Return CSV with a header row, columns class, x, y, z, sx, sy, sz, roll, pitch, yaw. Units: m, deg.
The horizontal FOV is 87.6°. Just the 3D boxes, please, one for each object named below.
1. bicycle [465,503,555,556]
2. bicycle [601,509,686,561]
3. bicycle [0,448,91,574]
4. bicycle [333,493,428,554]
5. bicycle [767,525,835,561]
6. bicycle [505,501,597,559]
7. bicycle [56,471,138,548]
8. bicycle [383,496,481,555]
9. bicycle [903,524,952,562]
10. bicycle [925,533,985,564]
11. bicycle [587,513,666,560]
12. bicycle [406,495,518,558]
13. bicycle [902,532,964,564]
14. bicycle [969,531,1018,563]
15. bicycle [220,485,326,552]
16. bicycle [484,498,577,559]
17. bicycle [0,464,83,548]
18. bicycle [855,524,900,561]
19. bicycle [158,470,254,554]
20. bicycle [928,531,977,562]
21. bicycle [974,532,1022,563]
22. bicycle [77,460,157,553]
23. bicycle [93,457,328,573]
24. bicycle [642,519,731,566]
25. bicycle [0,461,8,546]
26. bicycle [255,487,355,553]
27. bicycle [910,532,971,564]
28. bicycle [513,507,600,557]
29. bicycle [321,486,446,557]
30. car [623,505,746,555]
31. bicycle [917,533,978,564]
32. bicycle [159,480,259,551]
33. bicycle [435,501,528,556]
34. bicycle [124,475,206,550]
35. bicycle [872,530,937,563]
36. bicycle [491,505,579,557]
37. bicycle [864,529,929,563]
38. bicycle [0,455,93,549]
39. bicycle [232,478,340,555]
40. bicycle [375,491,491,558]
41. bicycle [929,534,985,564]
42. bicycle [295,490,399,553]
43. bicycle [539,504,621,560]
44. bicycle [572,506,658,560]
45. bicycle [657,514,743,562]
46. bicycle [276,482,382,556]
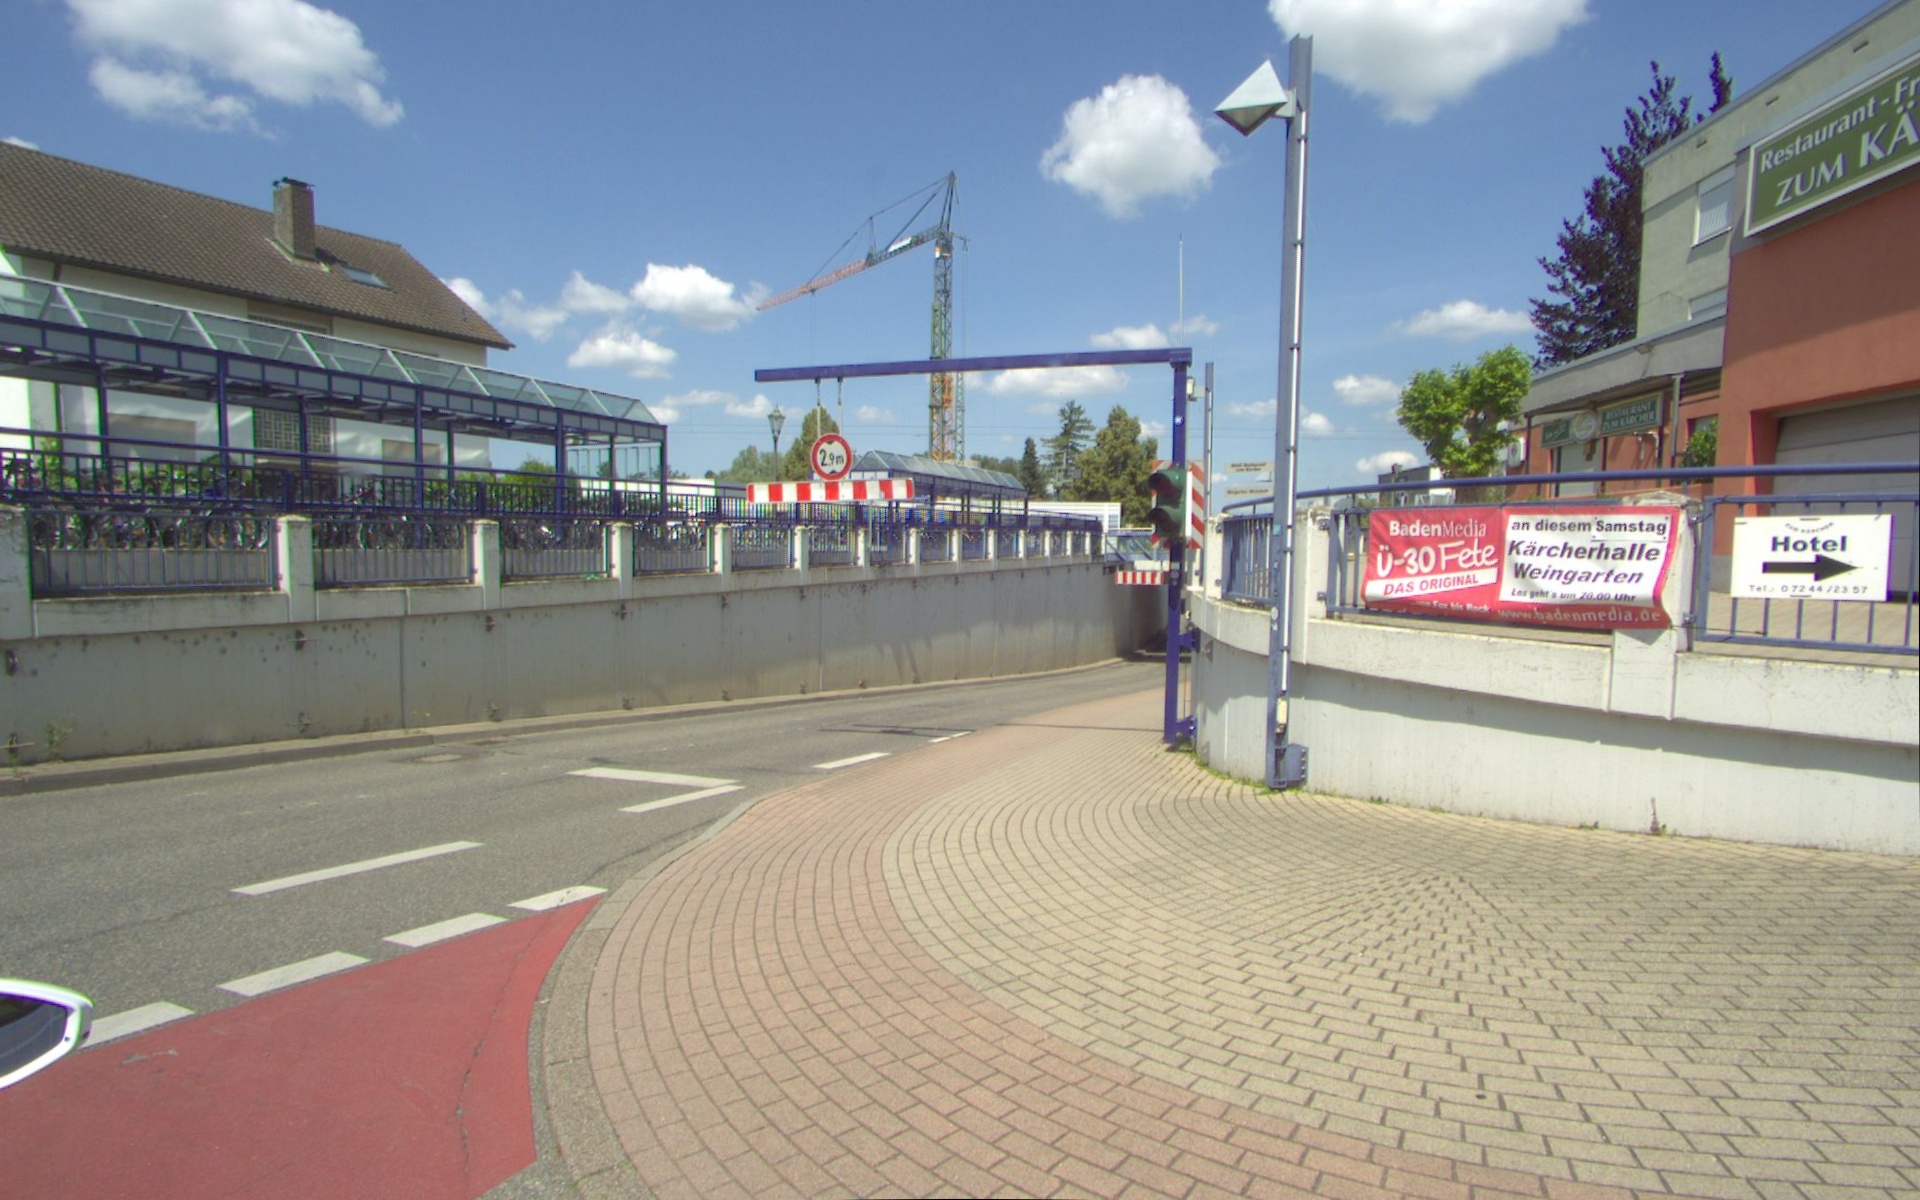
class,x,y,z,sx,sy,sz,roll,pitch,yaw
bicycle,-8.953,-1.397,19.896,1.933,1.009,0.518,2,3,26
bicycle,-6.450,-1.324,20.347,2.011,1.008,0.542,3,3,35
bicycle,-9.010,-0.806,8.804,0.327,1.141,2.114,3,3,24
bicycle,-10.143,-1.333,17.518,1.772,1.009,0.518,2,3,26
bicycle,-4.681,-1.668,29.411,1.991,1.009,0.510,2,3,22
bicycle,-7.502,-1.271,18.349,2.009,1.009,0.514,3,3,33
bicycle,-11.963,-1.233,13.867,1.938,1.009,0.371,3,3,35
bicycle,-9.519,-1.339,18.046,1.933,1.009,0.518,2,3,26
bicycle,-1.037,-1.819,31.905,1.578,1.174,0.427,3,3,34
bicycle,-0.180,-1.750,34.194,1.991,1.009,0.510,2,3,22
bicycle,-7.515,-1.432,22.520,2.009,1.009,0.542,3,3,32
bicycle,-8.402,-1.234,16.861,2.153,1.009,0.532,3,3,28
bicycle,-0.884,-1.711,32.753,1.991,1.009,0.510,2,3,22
bicycle,1.259,-2.006,38.117,1.792,1.174,0.510,2,3,23
bicycle,-10.828,-1.281,15.775,1.933,1.009,0.473,2,3,26
bicycle,-7.540,-1.240,17.519,2.160,1.008,0.576,3,3,40
bicycle,-11.952,-1.200,13.010,1.938,1.009,0.371,3,3,35
bicycle,-2.715,-1.896,32.920,1.578,1.174,0.384,3,3,34
bicycle,-9.742,-1.113,12.910,2.074,1.008,0.434,3,3,37
bicycle,-0.274,-2.043,38.171,1.792,1.174,0.510,2,3,23
bicycle,1.467,-2.021,38.620,1.792,1.174,0.510,2,3,23
bicycle,-10.048,-1.082,11.915,2.077,1.008,0.433,3,4,42
bicycle,-8.061,-0.865,10.906,0.386,1.141,2.114,3,3,24
bicycle,-6.087,-1.287,22.217,2.126,1.009,0.436,2,3,25
bicycle,-12.138,-1.178,12.326,1.866,1.008,0.452,3,4,42
bicycle,-10.609,-1.293,16.199,1.933,1.009,0.413,2,3,26
bicycle,-0.649,-1.727,33.301,1.991,1.009,0.510,2,3,22
bicycle,-8.436,-1.425,20.911,1.933,1.009,0.518,2,3,26
bicycle,-8.758,-1.178,15.175,2.245,1.009,0.532,3,3,28
car,-10.120,-2.569,36.814,3.930,1.701,1.994,2,3,22
bicycle,-0.426,-1.740,33.789,1.991,1.009,0.510,2,3,22
bicycle,-11.316,-1.265,15.073,1.935,1.009,0.425,3,3,29
bicycle,-9.255,-1.384,19.362,1.933,1.009,0.518,2,3,26
bicycle,-11.467,-1.244,14.432,1.938,1.009,0.371,3,3,35
bicycle,-1.745,-1.674,31.281,1.991,1.009,0.510,2,3,22
bicycle,-8.673,-1.411,20.414,1.933,1.009,0.518,2,3,26
bicycle,-1.966,-1.656,30.704,1.991,1.009,0.436,2,3,22
bicycle,-10.733,-1.115,11.509,2.041,1.009,0.332,2,3,25
bicycle,-9.457,-1.149,14.017,2.248,1.009,0.434,3,3,34
bicycle,-8.504,-1.209,16.139,2.153,1.009,0.532,3,3,28
bicycle,-0.105,-1.773,34.821,1.890,1.009,0.510,2,3,22
bicycle,-10.325,-1.312,16.857,1.933,1.009,0.518,2,3,26
bicycle,-7.231,-1.290,18.997,2.013,1.008,0.513,3,3,38
bicycle,-6.769,-1.302,19.592,2.011,1.008,0.514,3,3,35
bicycle,-5.766,-1.379,22.163,2.007,1.009,0.543,3,3,29
bicycle,-9.177,-1.162,14.529,2.248,1.009,0.434,3,3,34
